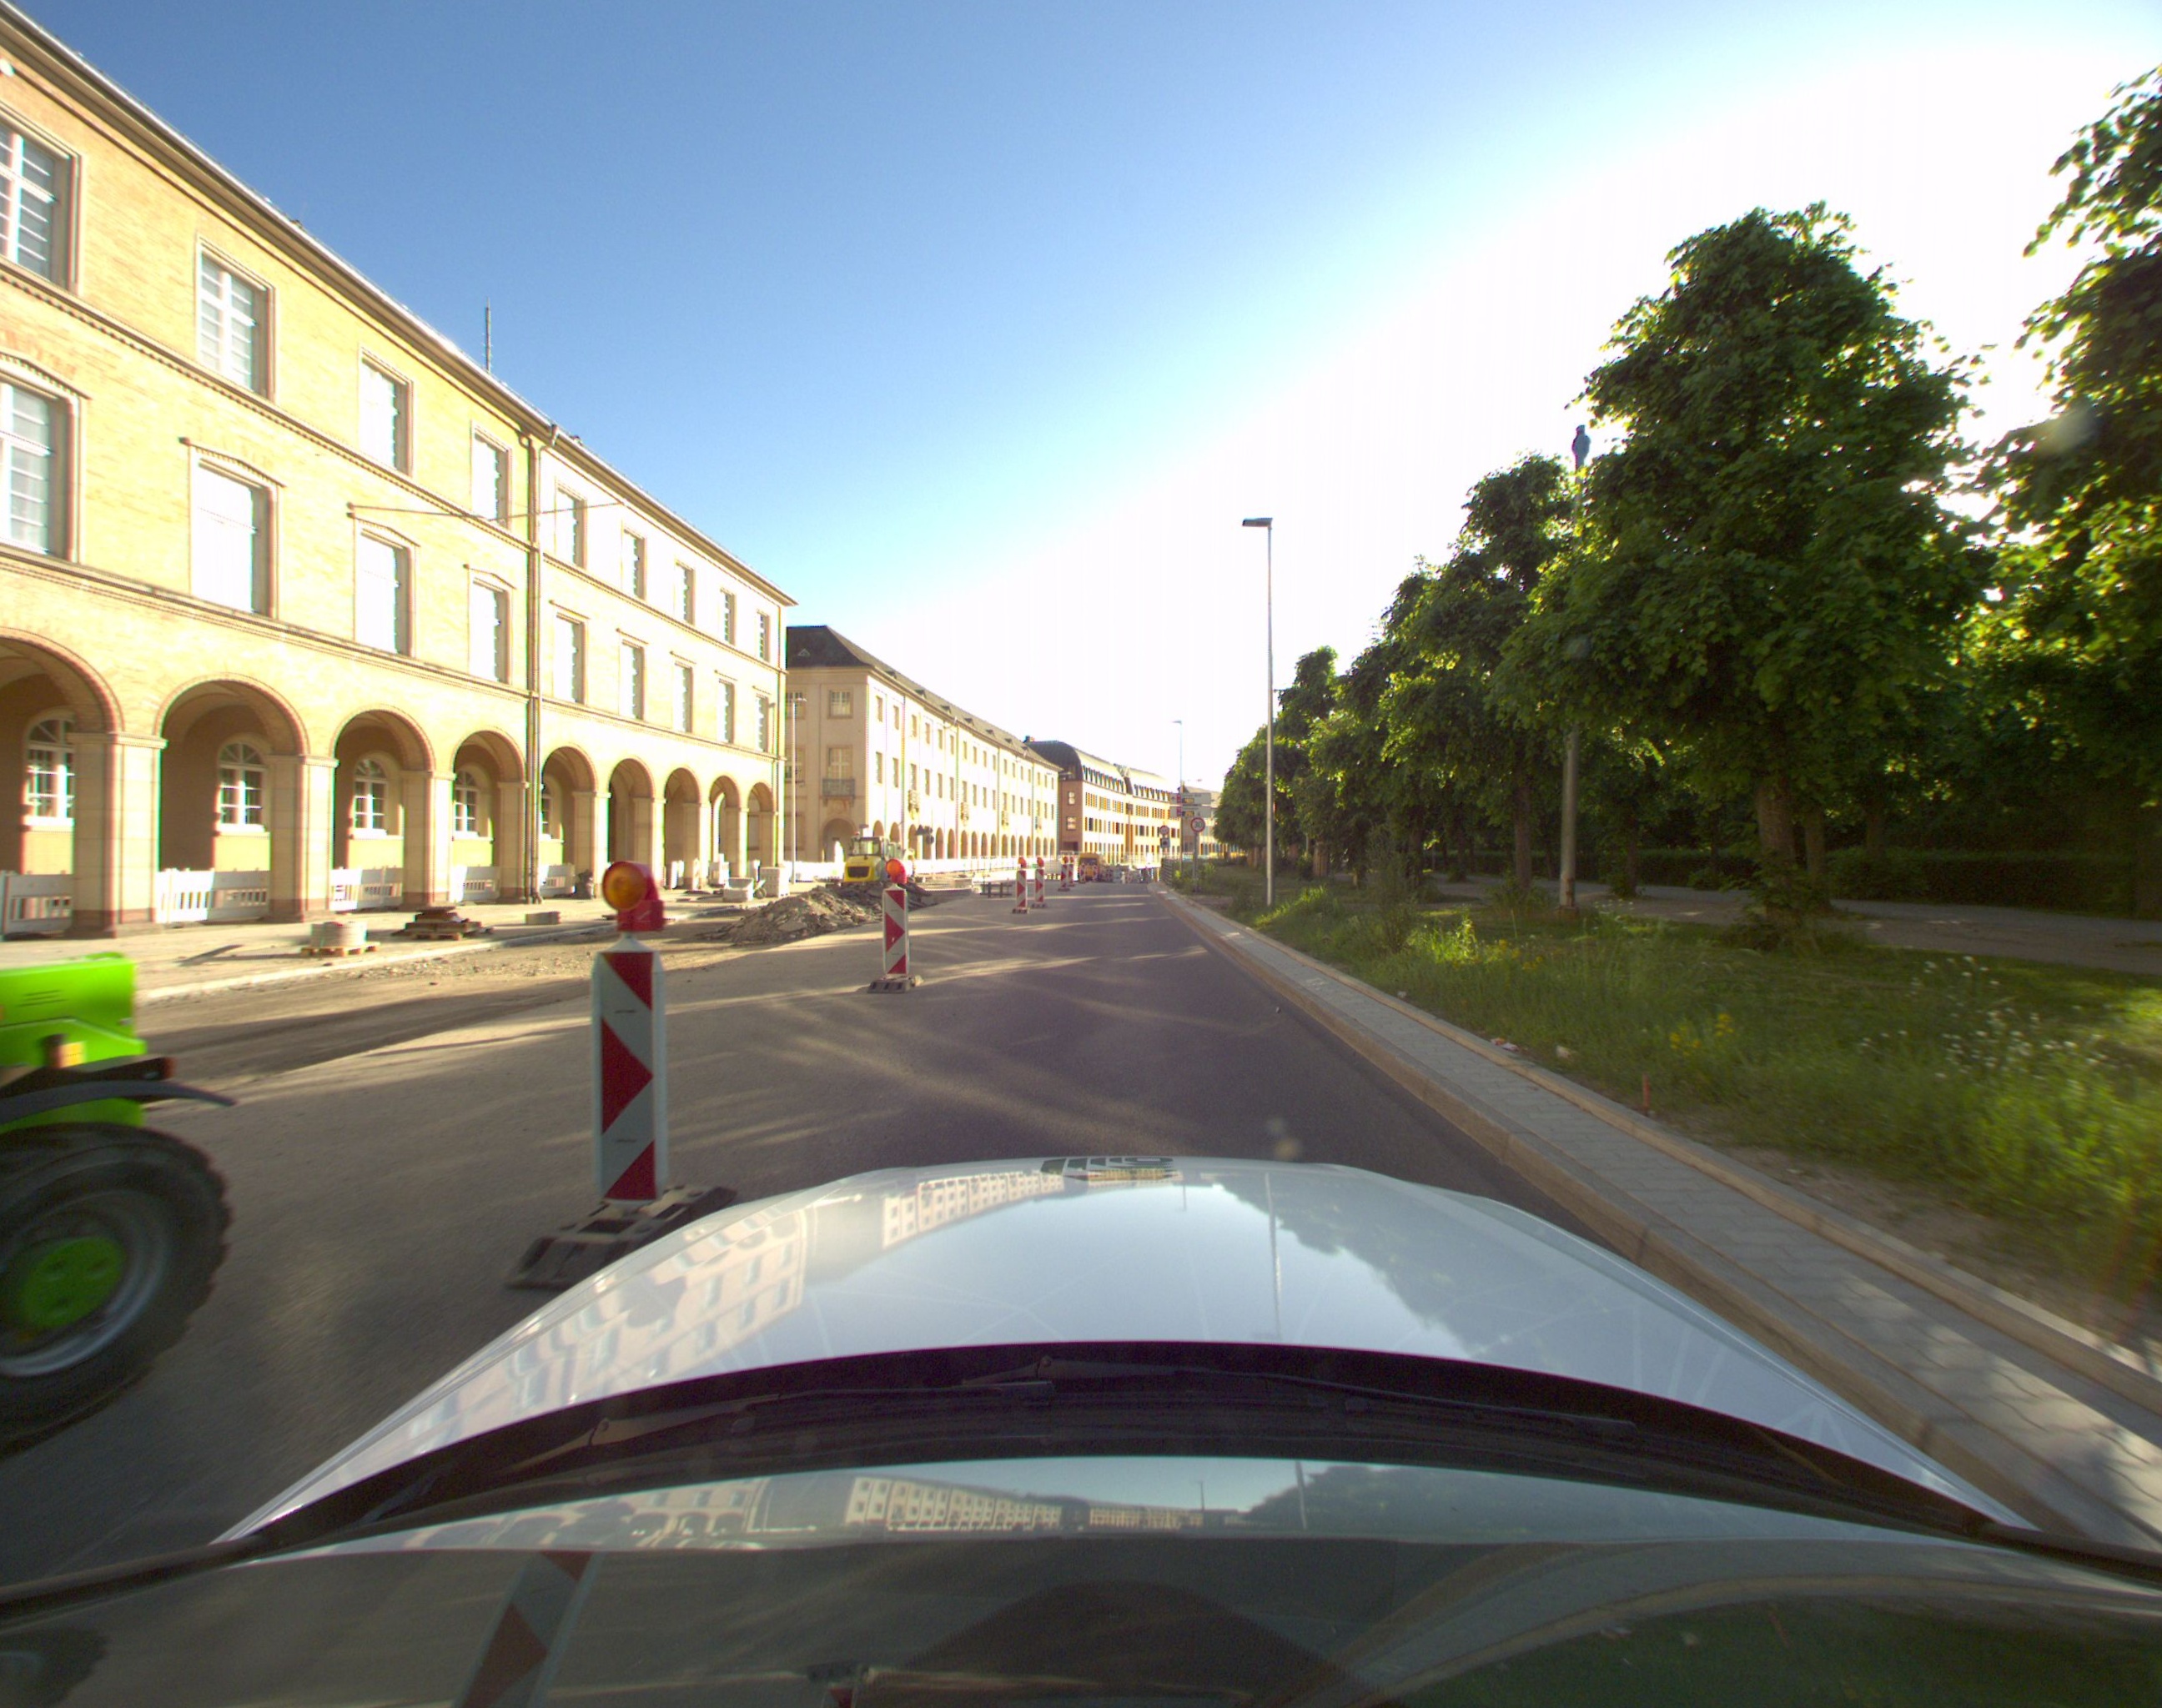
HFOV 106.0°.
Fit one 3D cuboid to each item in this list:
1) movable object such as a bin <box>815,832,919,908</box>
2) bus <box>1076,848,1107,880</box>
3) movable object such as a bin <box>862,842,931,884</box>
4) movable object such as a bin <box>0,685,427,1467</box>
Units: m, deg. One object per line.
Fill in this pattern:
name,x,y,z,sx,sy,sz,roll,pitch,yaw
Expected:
movable object such as a bin,-7.419,0.473,28.769,2.065,2.475,4.623,0,1,5
bus,0.966,0.959,71.477,2.061,2.687,4.694,0,-2,8
movable object such as a bin,-10.665,0.492,47.385,2.532,2.349,4.469,0,0,7
movable object such as a bin,-3.817,0.572,1.116,2.040,1.949,4.342,0,1,6
